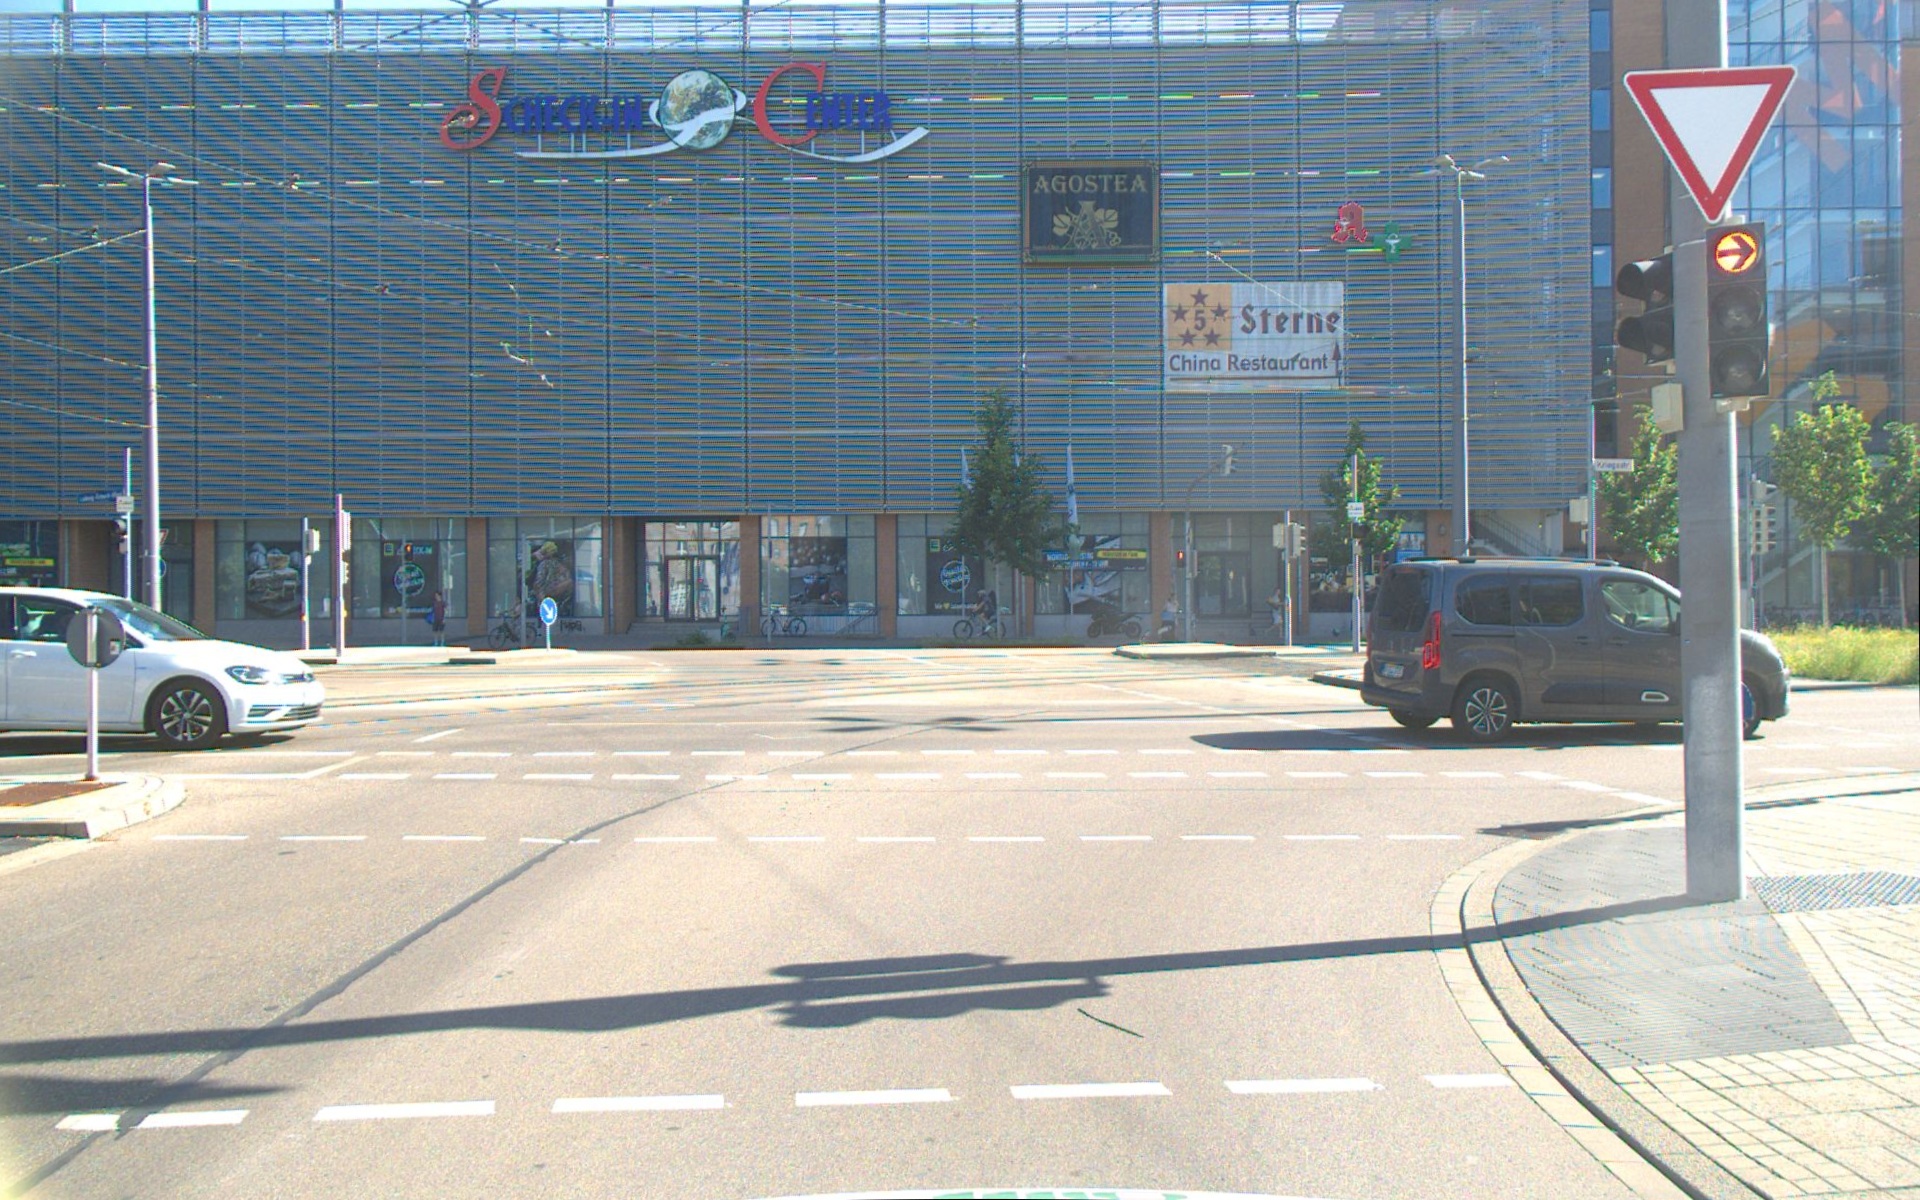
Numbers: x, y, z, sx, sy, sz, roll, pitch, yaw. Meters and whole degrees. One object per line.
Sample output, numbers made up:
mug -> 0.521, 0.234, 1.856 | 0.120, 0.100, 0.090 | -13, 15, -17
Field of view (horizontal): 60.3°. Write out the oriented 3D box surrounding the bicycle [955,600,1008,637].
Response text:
bicycle -> 0.760, 0.646, 58.355 | 1.819, 1.238, 0.569 | -1, 1, -2

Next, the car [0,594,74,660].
car -> -28.745, 0.790, 48.749 | 4.238, 1.895, 1.840 | 0, -1, -2

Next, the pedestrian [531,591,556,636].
pedestrian -> -15.385, 0.489, 61.152 | 0.646, 1.629, 0.594 | 1, -1, 18

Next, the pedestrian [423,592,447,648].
pedestrian -> -17.336, 0.662, 54.674 | 0.683, 1.829, 0.727 | -2, 0, -17

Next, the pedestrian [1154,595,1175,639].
pedestrian -> 6.859, 0.576, 55.370 | 0.641, 1.438, 0.850 | 1, 0, 10

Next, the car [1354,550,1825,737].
car -> 6.542, 0.412, 17.363 | 4.376, 1.823, 1.706 | 0, 0, -9

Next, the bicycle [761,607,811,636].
bicycle -> -6.363, 0.777, 60.439 | 1.783, 1.006, 0.556 | 0, 1, -11

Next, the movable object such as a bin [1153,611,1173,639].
movable object such as a bin -> 6.744, 0.830, 54.903 | 0.599, 0.920, 0.970 | 1, 0, 10

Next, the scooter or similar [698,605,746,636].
scooter or similar -> -8.744, 0.746, 60.786 | 1.759, 1.085, 0.611 | 0, 1, -9

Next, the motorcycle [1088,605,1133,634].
motorcycle -> 5.532, 0.726, 60.714 | 1.605, 1.022, 0.447 | 1, 0, 6

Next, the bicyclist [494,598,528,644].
bicyclist -> -14.797, 0.689, 54.550 | 0.663, 1.452, 0.844 | 0, 2, 42

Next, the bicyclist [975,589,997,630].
bicyclist -> 0.926, 0.345, 58.354 | 0.738, 1.410, 0.565 | -1, 1, -1

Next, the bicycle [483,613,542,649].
bicycle -> -14.765, 1.006, 54.626 | 0.559, 1.105, 1.852 | 0, 2, 42

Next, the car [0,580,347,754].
car -> -8.168, 0.587, 15.455 | 4.199, 1.498, 1.863 | -1, 0, -6

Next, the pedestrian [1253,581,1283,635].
pedestrian -> 11.091, 0.305, 59.556 | 0.930, 1.860, 0.846 | -2, -4, 5

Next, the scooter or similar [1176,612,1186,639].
scooter or similar -> 7.368, 0.832, 55.196 | 0.288, 0.888, 1.004 | 1, 0, 10
